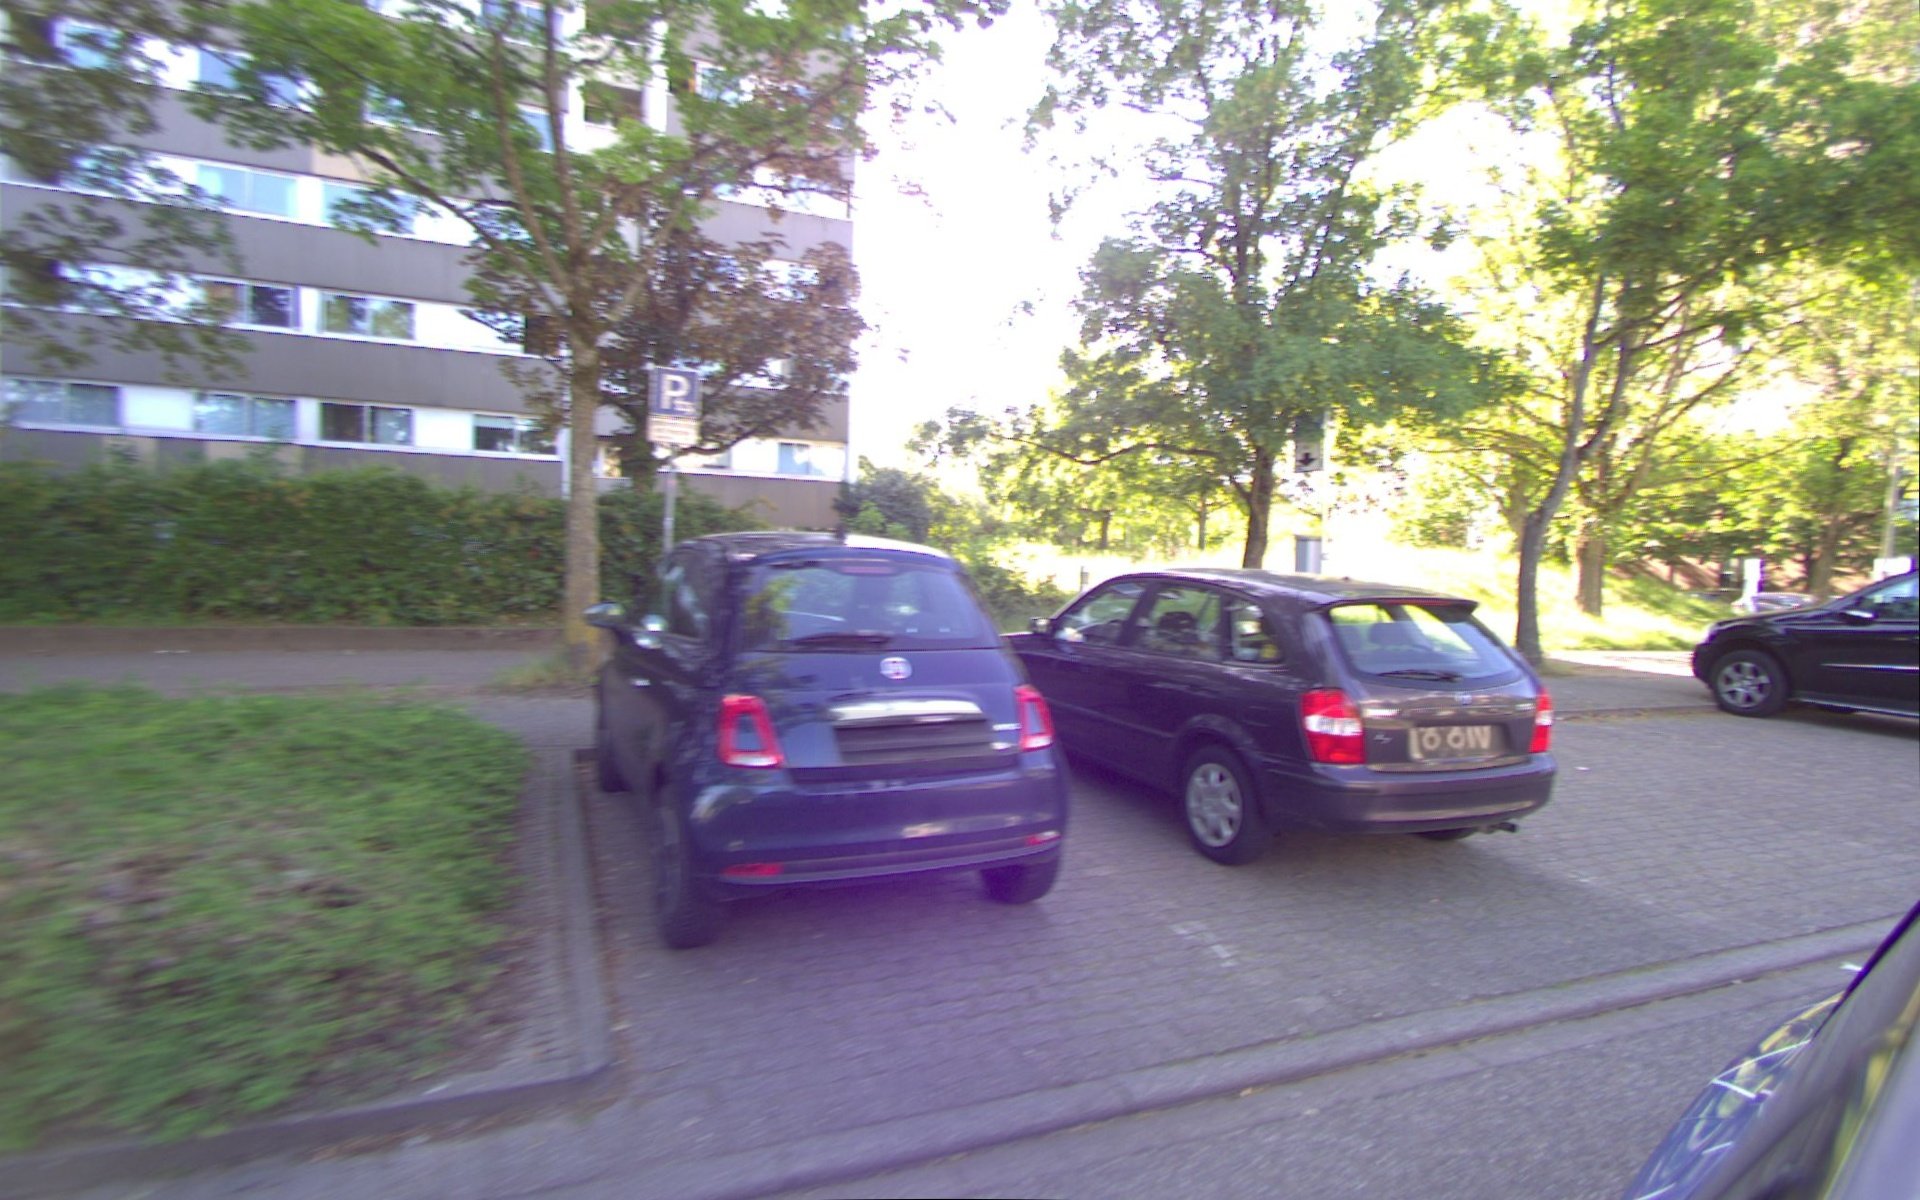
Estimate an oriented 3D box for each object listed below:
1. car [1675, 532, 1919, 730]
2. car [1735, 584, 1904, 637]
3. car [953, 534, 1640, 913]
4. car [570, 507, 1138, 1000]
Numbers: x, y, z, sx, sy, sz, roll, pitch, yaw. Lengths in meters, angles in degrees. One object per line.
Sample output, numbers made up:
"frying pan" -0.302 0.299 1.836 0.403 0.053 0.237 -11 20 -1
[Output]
"car" 9.874 0.324 9.610 1.958 1.800 4.615 1 4 -23
"car" 29.408 0.329 34.780 1.796 1.549 4.009 1 2 -24
"car" 1.573 0.401 6.301 1.784 1.403 4.012 1 5 -23
"car" -0.939 0.331 5.205 1.666 1.516 3.831 1 5 -26
